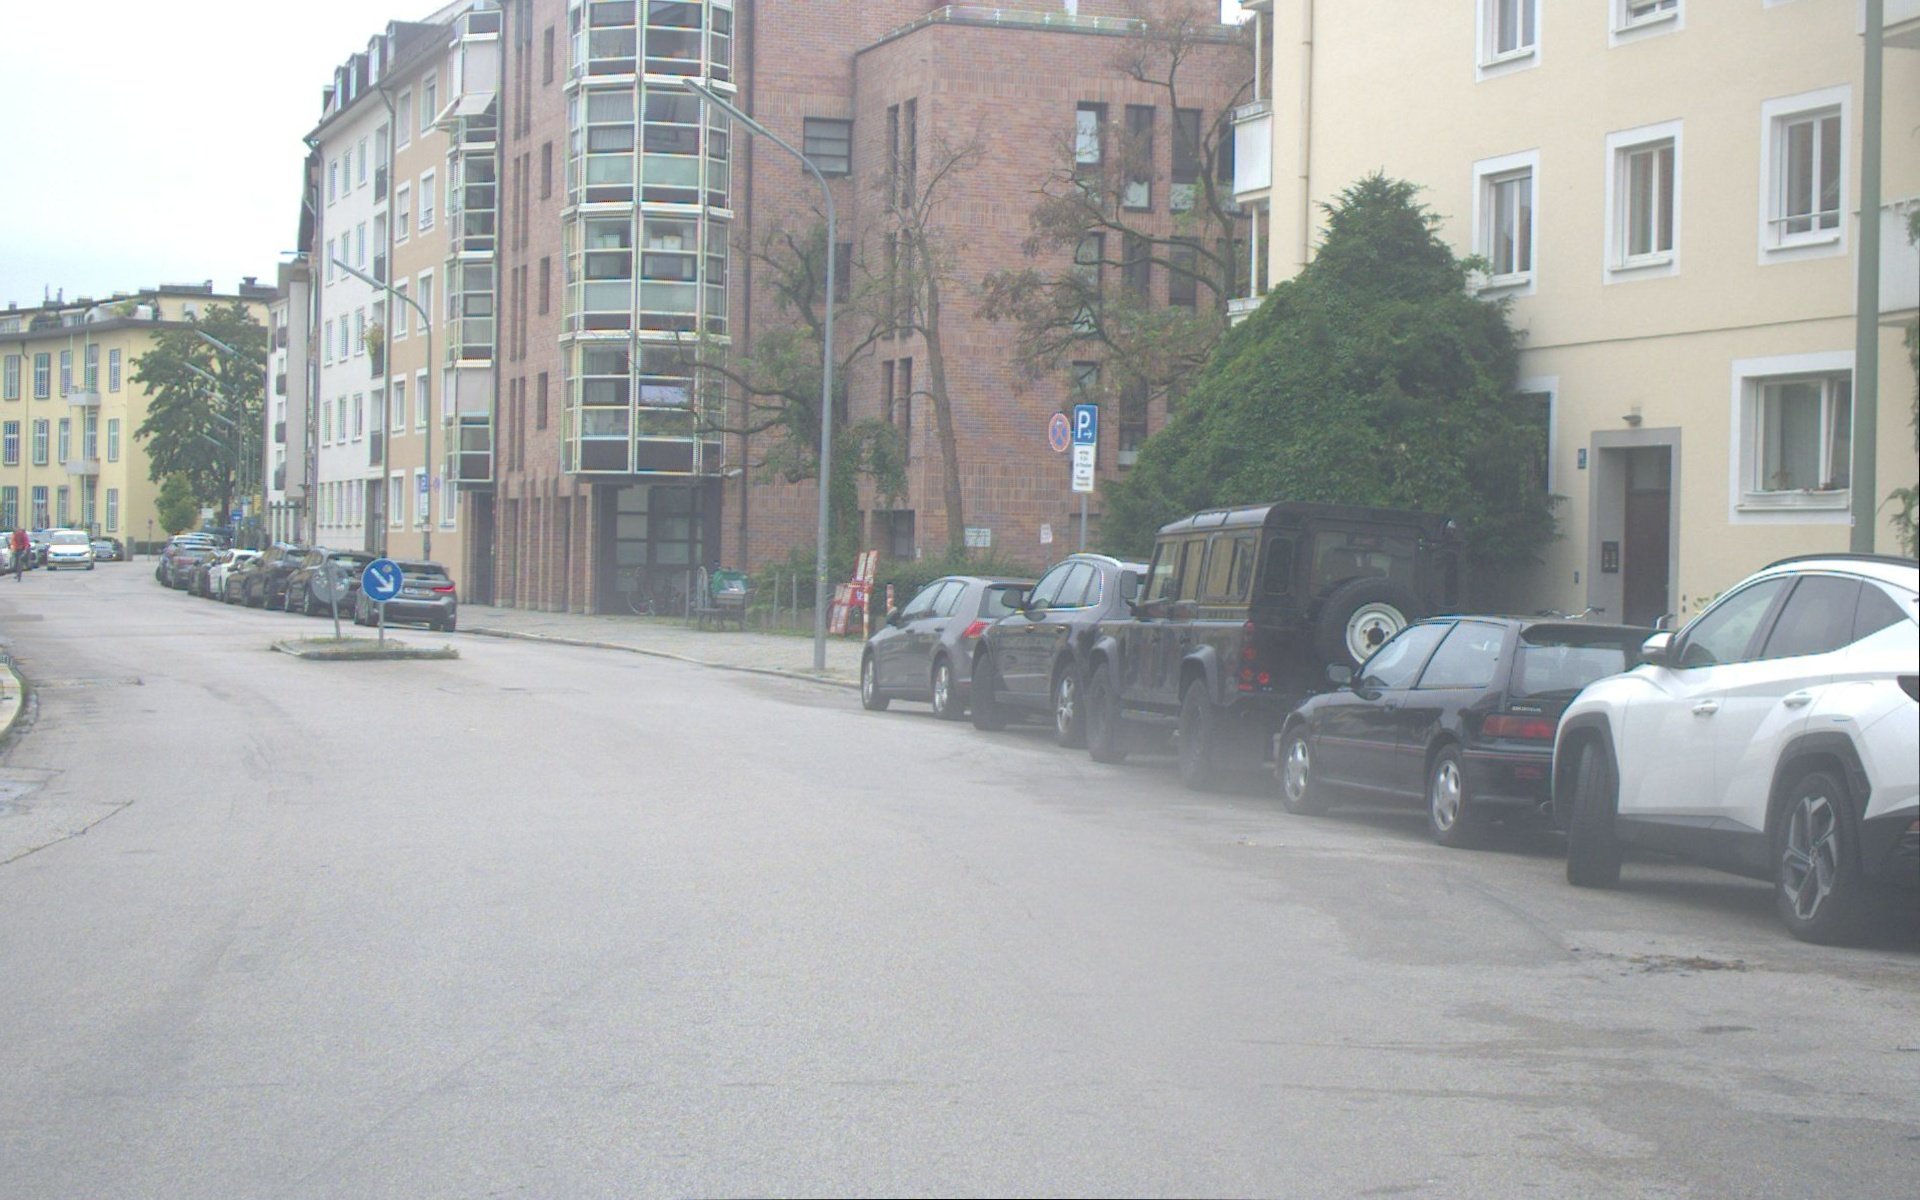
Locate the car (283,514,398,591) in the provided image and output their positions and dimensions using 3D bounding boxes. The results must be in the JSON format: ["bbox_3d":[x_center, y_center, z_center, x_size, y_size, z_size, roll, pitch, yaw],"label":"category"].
[{"bbox_3d":[-14.531,-1.134,80.476,1.829,1.596,4.267,3,1,-21],"label":"car"}]

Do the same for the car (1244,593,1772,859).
[{"bbox_3d":[3.120,0.681,20.362,1.658,1.344,3.805,3,0,-14],"label":"car"}]

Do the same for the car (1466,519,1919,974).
[{"bbox_3d":[4.066,0.547,15.467,2.025,1.672,4.614,3,1,-11],"label":"car"}]

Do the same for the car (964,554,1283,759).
[{"bbox_3d":[1.317,0.426,29.756,1.658,1.560,4.516,3,0,-11],"label":"car"}]

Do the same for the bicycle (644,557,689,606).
[{"bbox_3d":[-6.751,-0.428,79.093,0.486,1.056,1.996,3,1,-20],"label":"bicycle"}]

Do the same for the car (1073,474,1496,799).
[{"bbox_3d":[2.232,0.177,24.993,1.747,2.074,4.517,3,1,-11],"label":"car"}]

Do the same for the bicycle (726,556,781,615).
[{"bbox_3d":[-4.213,-0.294,70.156,0.420,1.169,1.359,4,1,27],"label":"bicycle"}]

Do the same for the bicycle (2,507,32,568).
[{"bbox_3d":[-31.555,-2.102,115.070,0.748,2.006,2.849,-1,2,-12],"label":"bicycle"}]

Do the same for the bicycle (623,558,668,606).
[{"bbox_3d":[-7.219,-0.427,78.884,0.486,1.056,1.996,3,0,-20],"label":"bicycle"}]

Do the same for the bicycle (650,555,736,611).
[{"bbox_3d":[-6.017,-0.382,77.481,1.847,1.143,0.488,3,1,-11],"label":"bicycle"}]

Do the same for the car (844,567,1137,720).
[{"bbox_3d":[0.238,0.405,34.775,1.753,1.391,4.046,3,0,-17],"label":"car"}]

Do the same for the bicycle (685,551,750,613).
[{"bbox_3d":[-5.038,-0.377,71.329,0.534,1.244,2.414,3,-1,-23],"label":"bicycle"}]

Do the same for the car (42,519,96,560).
[{"bbox_3d":[-37.299,-2.528,143.789,2.025,1.616,4.506,-1,0,-16],"label":"car"}]

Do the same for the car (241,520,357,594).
[{"bbox_3d":[-16.416,-1.079,85.195,1.964,1.596,4.673,3,1,-21],"label":"car"}]

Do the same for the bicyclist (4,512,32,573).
[{"bbox_3d":[-31.555,-1.936,115.133,0.766,2.006,0.768,-2,2,-12],"label":"bicyclist"}]

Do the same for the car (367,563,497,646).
[{"bbox_3d":[-10.861,0.071,70.561,1.924,1.507,4.393,3,0,-17],"label":"car"}]

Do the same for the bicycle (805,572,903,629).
[{"bbox_3d":[-1.970,0.011,64.046,1.700,0.962,0.546,3,1,-17],"label":"bicycle"}]
